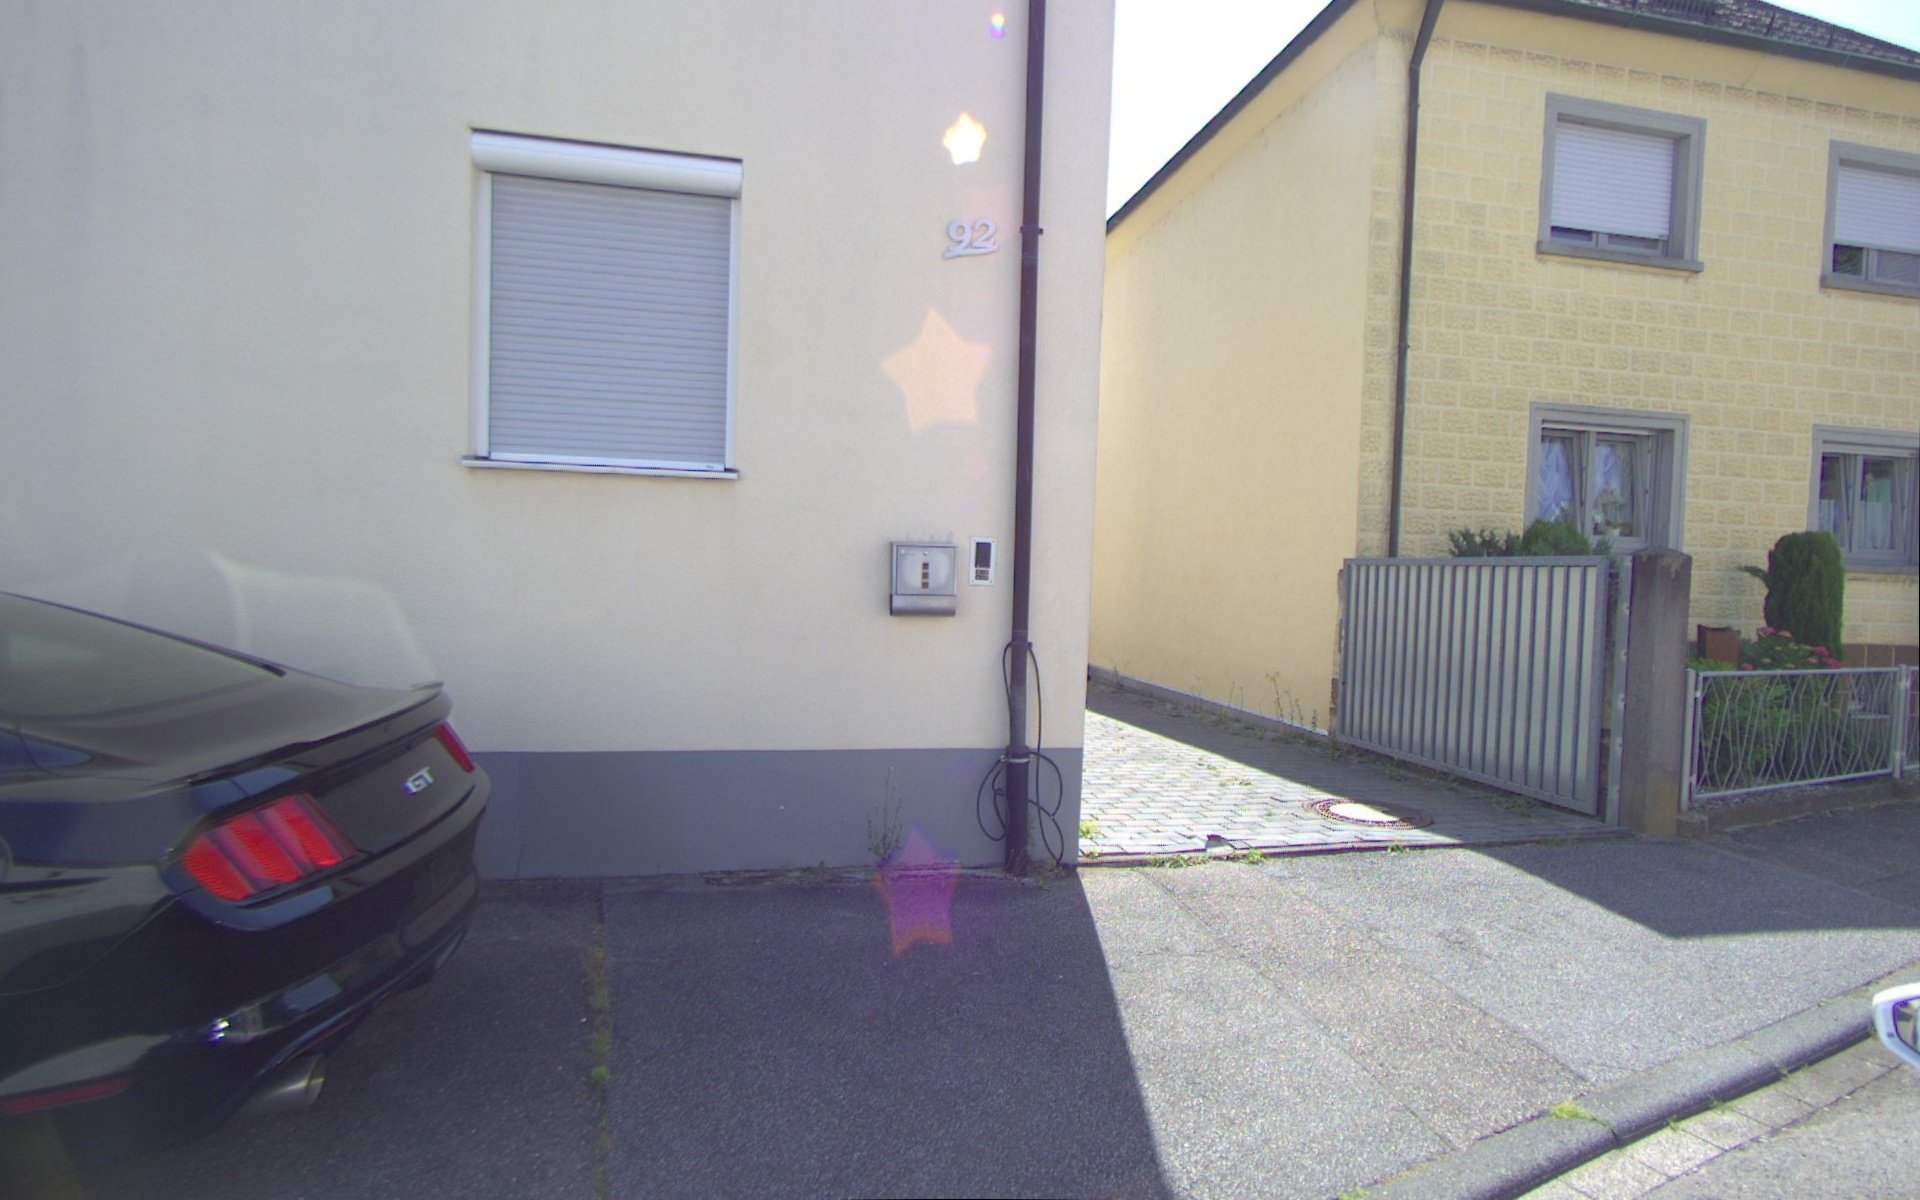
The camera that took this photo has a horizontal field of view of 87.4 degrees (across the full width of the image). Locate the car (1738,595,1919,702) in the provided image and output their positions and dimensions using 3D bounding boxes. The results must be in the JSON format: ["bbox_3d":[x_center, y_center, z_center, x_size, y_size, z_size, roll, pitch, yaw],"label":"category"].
[{"bbox_3d":[15.027,0.742,16.068,1.756,1.505,4.473,2,2,2],"label":"car"}]

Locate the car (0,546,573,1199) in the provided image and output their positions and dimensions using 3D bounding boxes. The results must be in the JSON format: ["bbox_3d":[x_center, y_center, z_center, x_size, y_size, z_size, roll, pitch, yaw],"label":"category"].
[{"bbox_3d":[-3.421,0.542,2.340,4.389,1.368,1.772,2,3,-10],"label":"car"}]
